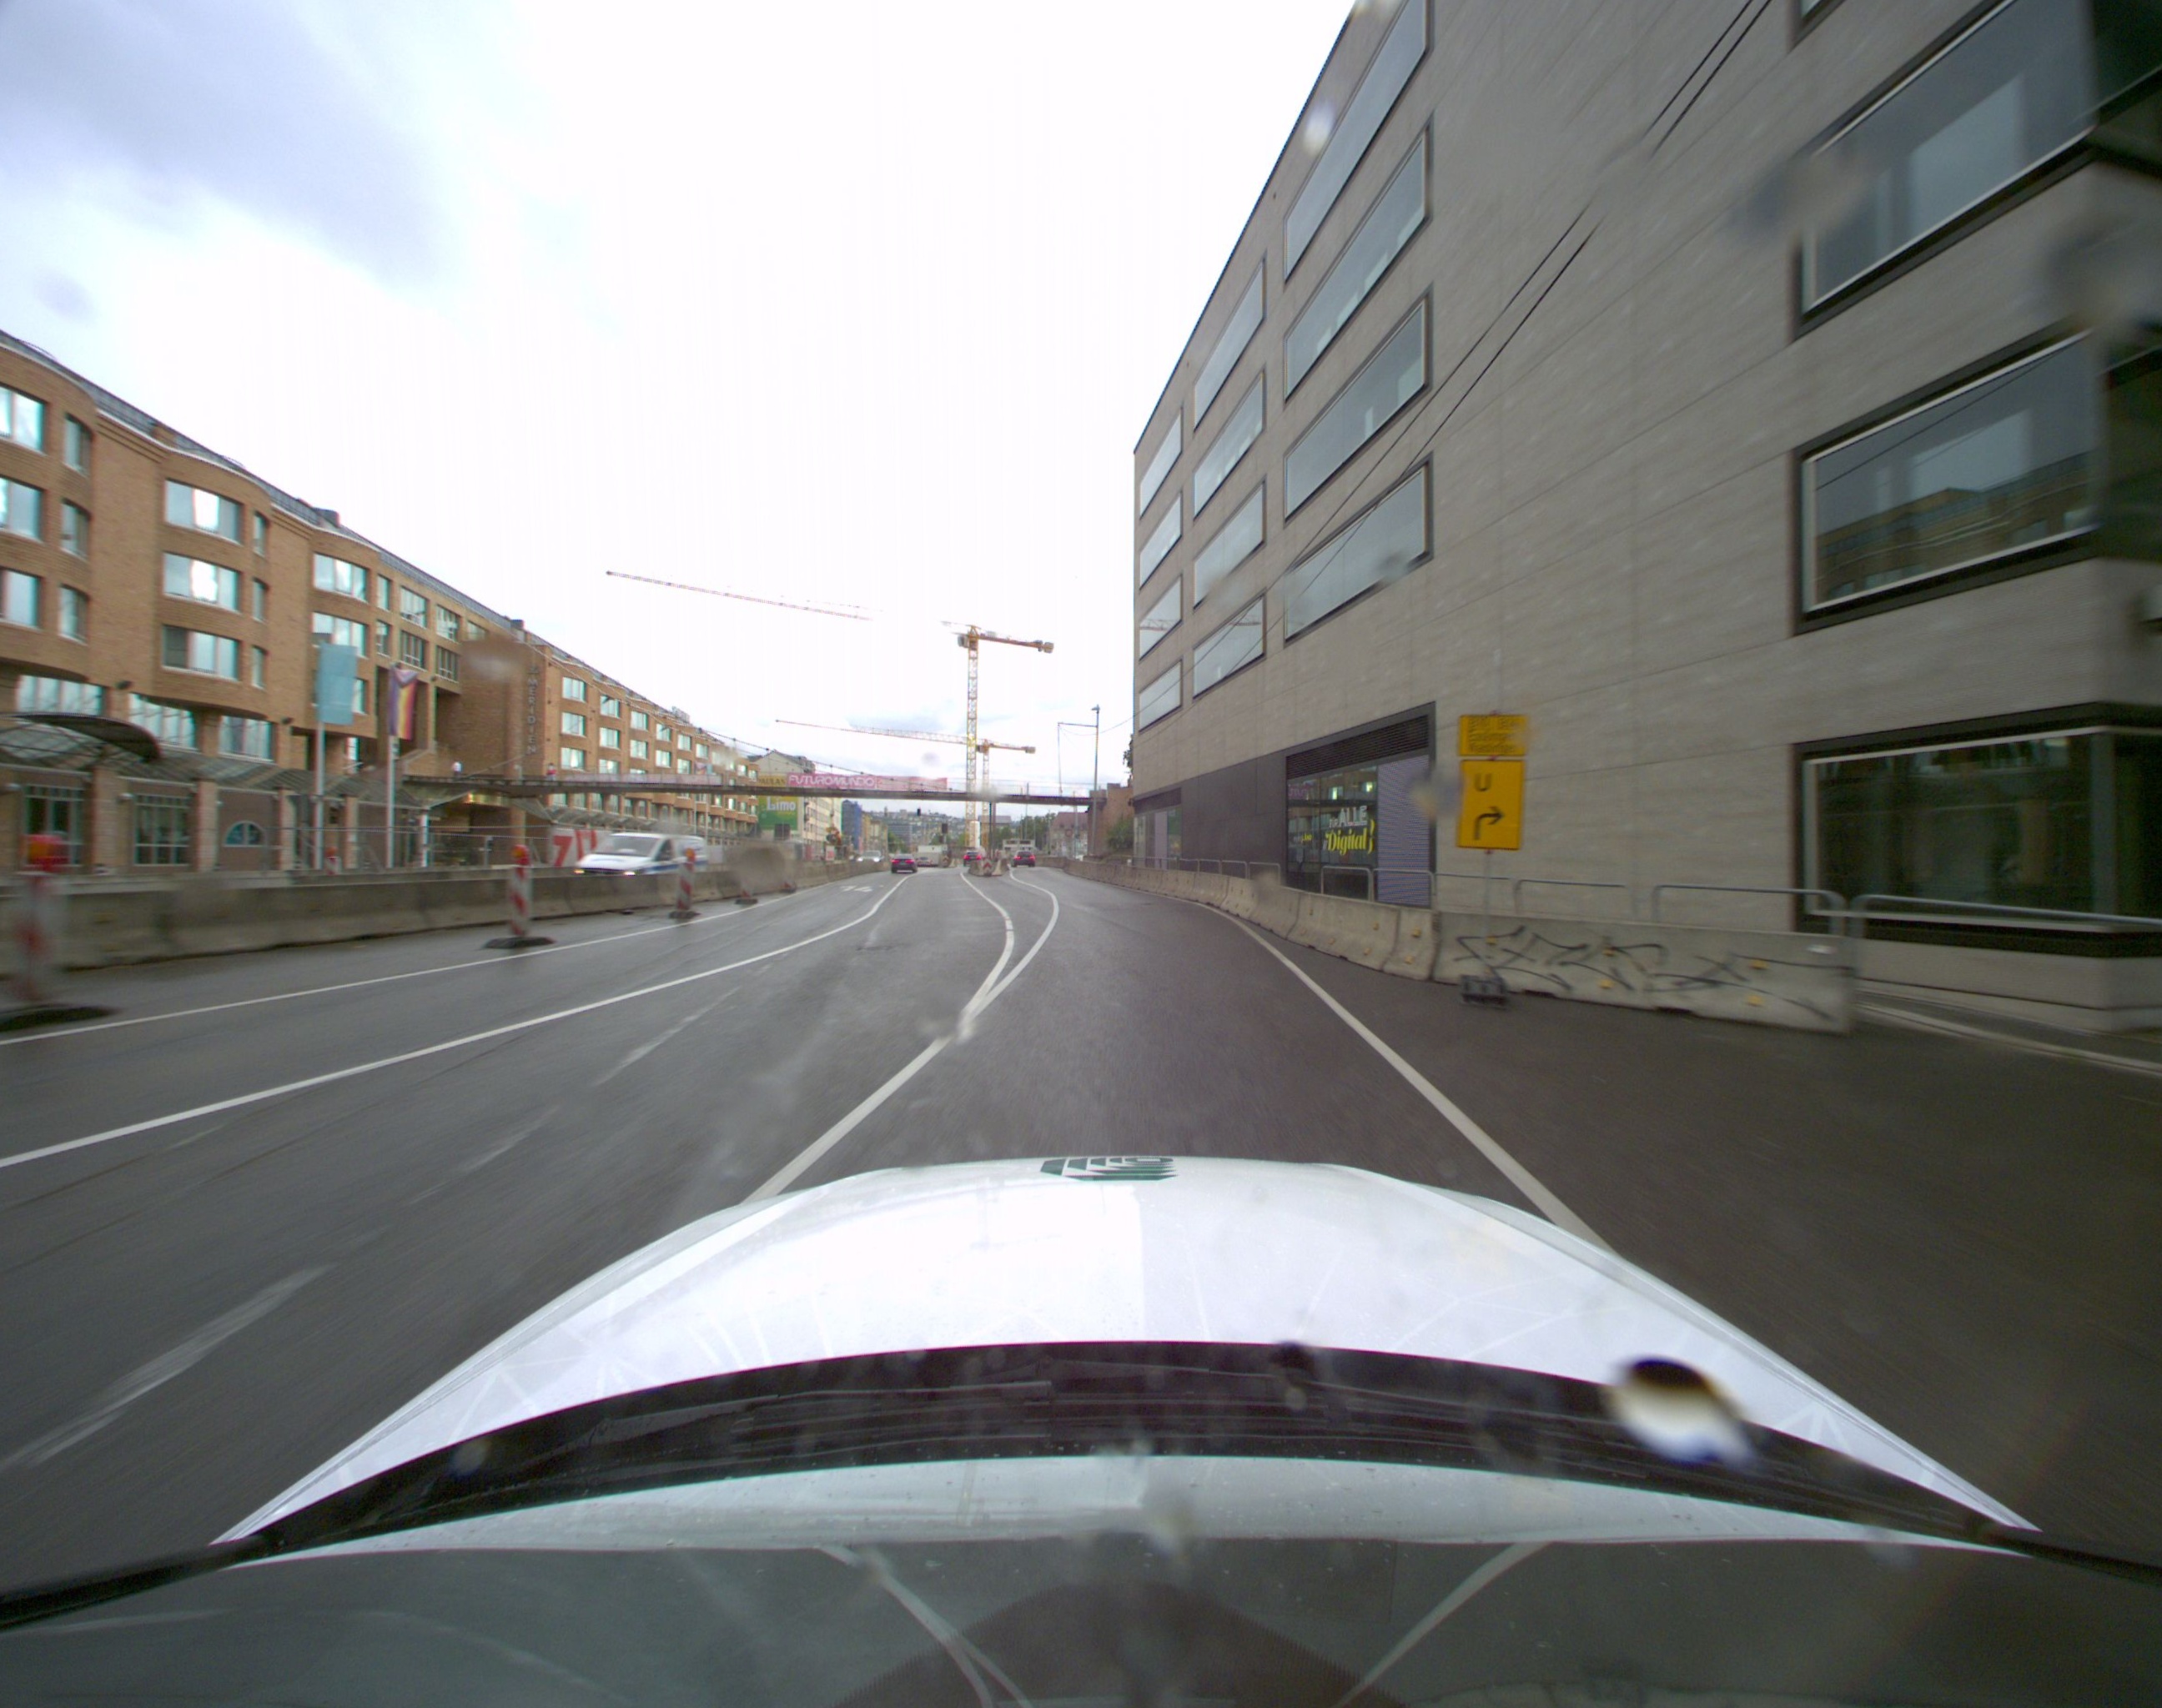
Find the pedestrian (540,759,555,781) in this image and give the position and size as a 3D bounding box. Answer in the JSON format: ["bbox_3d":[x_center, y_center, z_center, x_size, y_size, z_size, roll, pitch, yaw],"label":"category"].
[{"bbox_3d":[-36.256,-5.689,55.301,0.620,1.452,0.617,-1,0,-7],"label":"pedestrian"}]

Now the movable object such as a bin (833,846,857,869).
[{"bbox_3d":[-25.001,0.337,86.405,2.029,2.277,4.274,-3,1,-13],"label":"movable object such as a bin"}]

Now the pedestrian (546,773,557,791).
[{"bbox_3d":[-36.236,-4.941,55.751,0.474,1.194,0.483,-1,0,-7],"label":"pedestrian"}]

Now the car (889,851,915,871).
[{"bbox_3d":[-13.620,0.522,62.216,1.864,1.443,4.637,1,0,-12],"label":"car"}]

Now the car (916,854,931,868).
[{"bbox_3d":[-20.949,0.888,108.351,1.864,1.765,4.639,1,0,-11],"label":"car"}]

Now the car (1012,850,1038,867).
[{"bbox_3d":[-4.898,0.382,70.651,1.862,1.433,4.643,1,0,-8],"label":"car"}]

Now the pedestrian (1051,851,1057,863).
[{"bbox_3d":[-4.145,0.486,124.282,0.689,1.778,1.020,-1,-1,-9],"label":"pedestrian"}]

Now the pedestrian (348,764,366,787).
[{"bbox_3d":[-47.073,-5.082,52.974,0.620,1.452,0.617,-1,0,-7],"label":"pedestrian"}]

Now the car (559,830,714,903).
[{"bbox_3d":[-12.707,0.315,23.714,1.989,1.885,4.865,0,0,-3],"label":"car"}]

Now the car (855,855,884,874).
[{"bbox_3d":[-18.887,0.918,72.818,1.992,1.623,4.689,0,1,-8],"label":"car"}]

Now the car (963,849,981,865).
[{"bbox_3d":[-11.679,0.354,87.601,1.861,1.660,4.644,1,0,-8],"label":"car"}]
